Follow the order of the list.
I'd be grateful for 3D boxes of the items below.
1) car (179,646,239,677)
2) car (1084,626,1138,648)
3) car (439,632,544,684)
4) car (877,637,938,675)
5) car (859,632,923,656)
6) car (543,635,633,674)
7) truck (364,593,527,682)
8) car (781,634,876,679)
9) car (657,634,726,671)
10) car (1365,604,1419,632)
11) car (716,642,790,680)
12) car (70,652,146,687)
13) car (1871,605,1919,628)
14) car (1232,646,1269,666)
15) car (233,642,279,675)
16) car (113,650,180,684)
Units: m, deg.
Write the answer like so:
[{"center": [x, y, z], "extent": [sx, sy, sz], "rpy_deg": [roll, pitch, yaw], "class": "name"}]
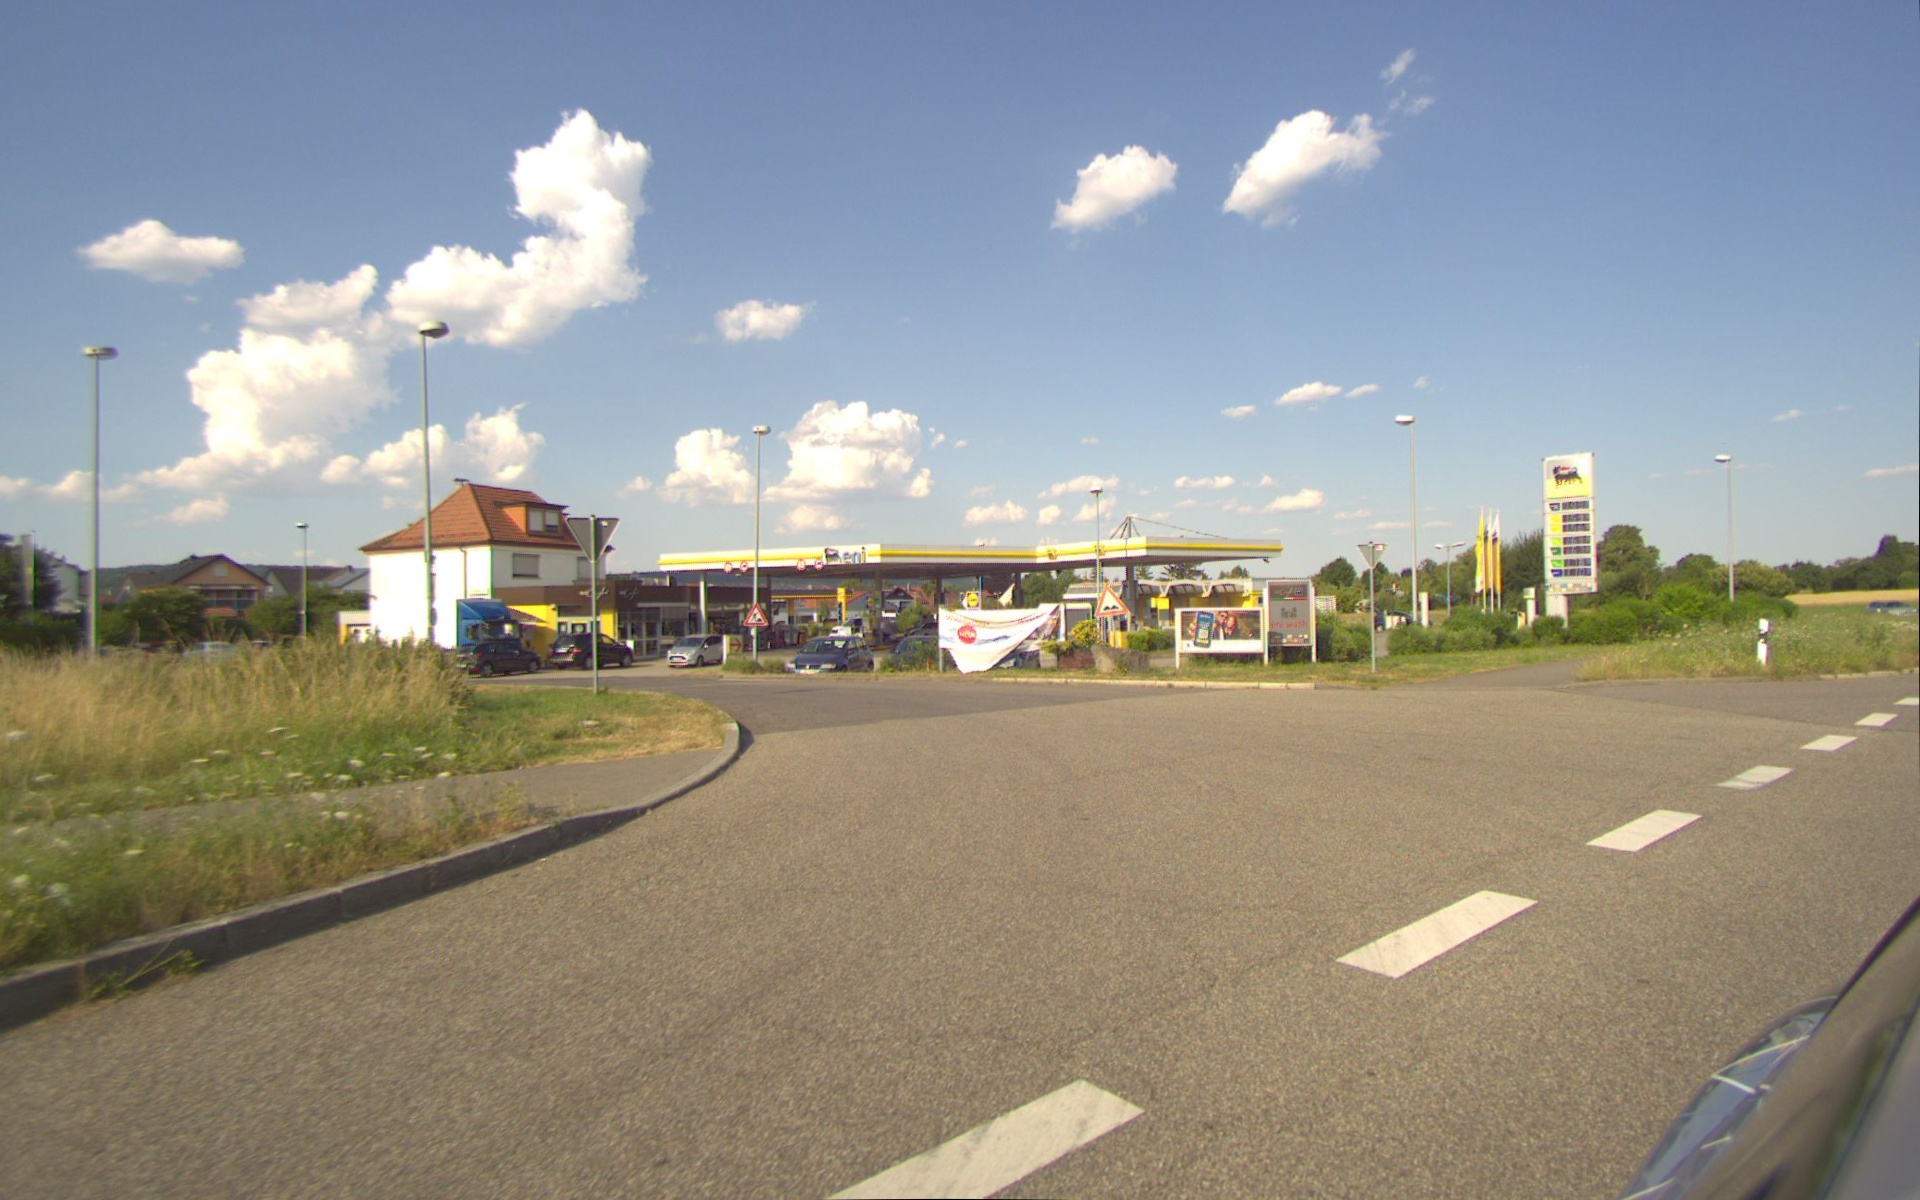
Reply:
[{"center": [-43.753, 3.562, 58.933], "extent": [3.523, 1.596, 1.575], "rpy_deg": [-5, -3, 31], "class": "car"}, {"center": [11.346, 2.818, 76.310], "extent": [1.767, 1.559, 4.346], "rpy_deg": [-1, -2, -28], "class": "car"}, {"center": [-20.377, 2.484, 44.189], "extent": [1.747, 2.040, 4.059], "rpy_deg": [-4, -2, 21], "class": "car"}, {"center": [-1.587, 1.700, 31.228], "extent": [1.254, 1.039, 2.493], "rpy_deg": [-4, -2, 11], "class": "car"}, {"center": [-4.986, 3.198, 73.003], "extent": [4.259, 1.559, 1.804], "rpy_deg": [-1, -2, -33], "class": "car"}, {"center": [-18.055, 2.637, 49.373], "extent": [1.825, 1.656, 4.397], "rpy_deg": [-4, -2, 17], "class": "car"}, {"center": [-24.541, 1.832, 48.185], "extent": [7.929, 3.736, 2.741], "rpy_deg": [-5, -3, 27], "class": "truck"}, {"center": [-3.953, 1.706, 31.076], "extent": [1.577, 1.218, 3.898], "rpy_deg": [-3, -2, 14], "class": "car"}, {"center": [-13.420, 2.593, 50.762], "extent": [1.729, 1.741, 3.880], "rpy_deg": [-3, -2, 12], "class": "car"}, {"center": [35.761, 1.498, 83.812], "extent": [3.663, 2.142, 1.897], "rpy_deg": [-5, -3, 34], "class": "car"}, {"center": [-6.508, 1.913, 32.038], "extent": [1.296, 1.051, 2.897], "rpy_deg": [-4, -2, 9], "class": "car"}, {"center": [-39.049, 3.190, 46.390], "extent": [3.572, 1.412, 1.827], "rpy_deg": [-5, -3, 35], "class": "car"}, {"center": [67.604, 1.171, 73.211], "extent": [1.504, 1.526, 2.734], "rpy_deg": [-4, -2, 19], "class": "car"}, {"center": [7.104, 1.364, 24.777], "extent": [0.595, 0.455, 1.082], "rpy_deg": [-3, -2, 1], "class": "car"}, {"center": [-43.326, 3.628, 62.264], "extent": [1.819, 1.823, 3.587], "rpy_deg": [-1, -3, -43], "class": "car"}, {"center": [-45.823, 3.794, 56.990], "extent": [3.563, 1.702, 1.685], "rpy_deg": [-5, -3, 28], "class": "car"}]
